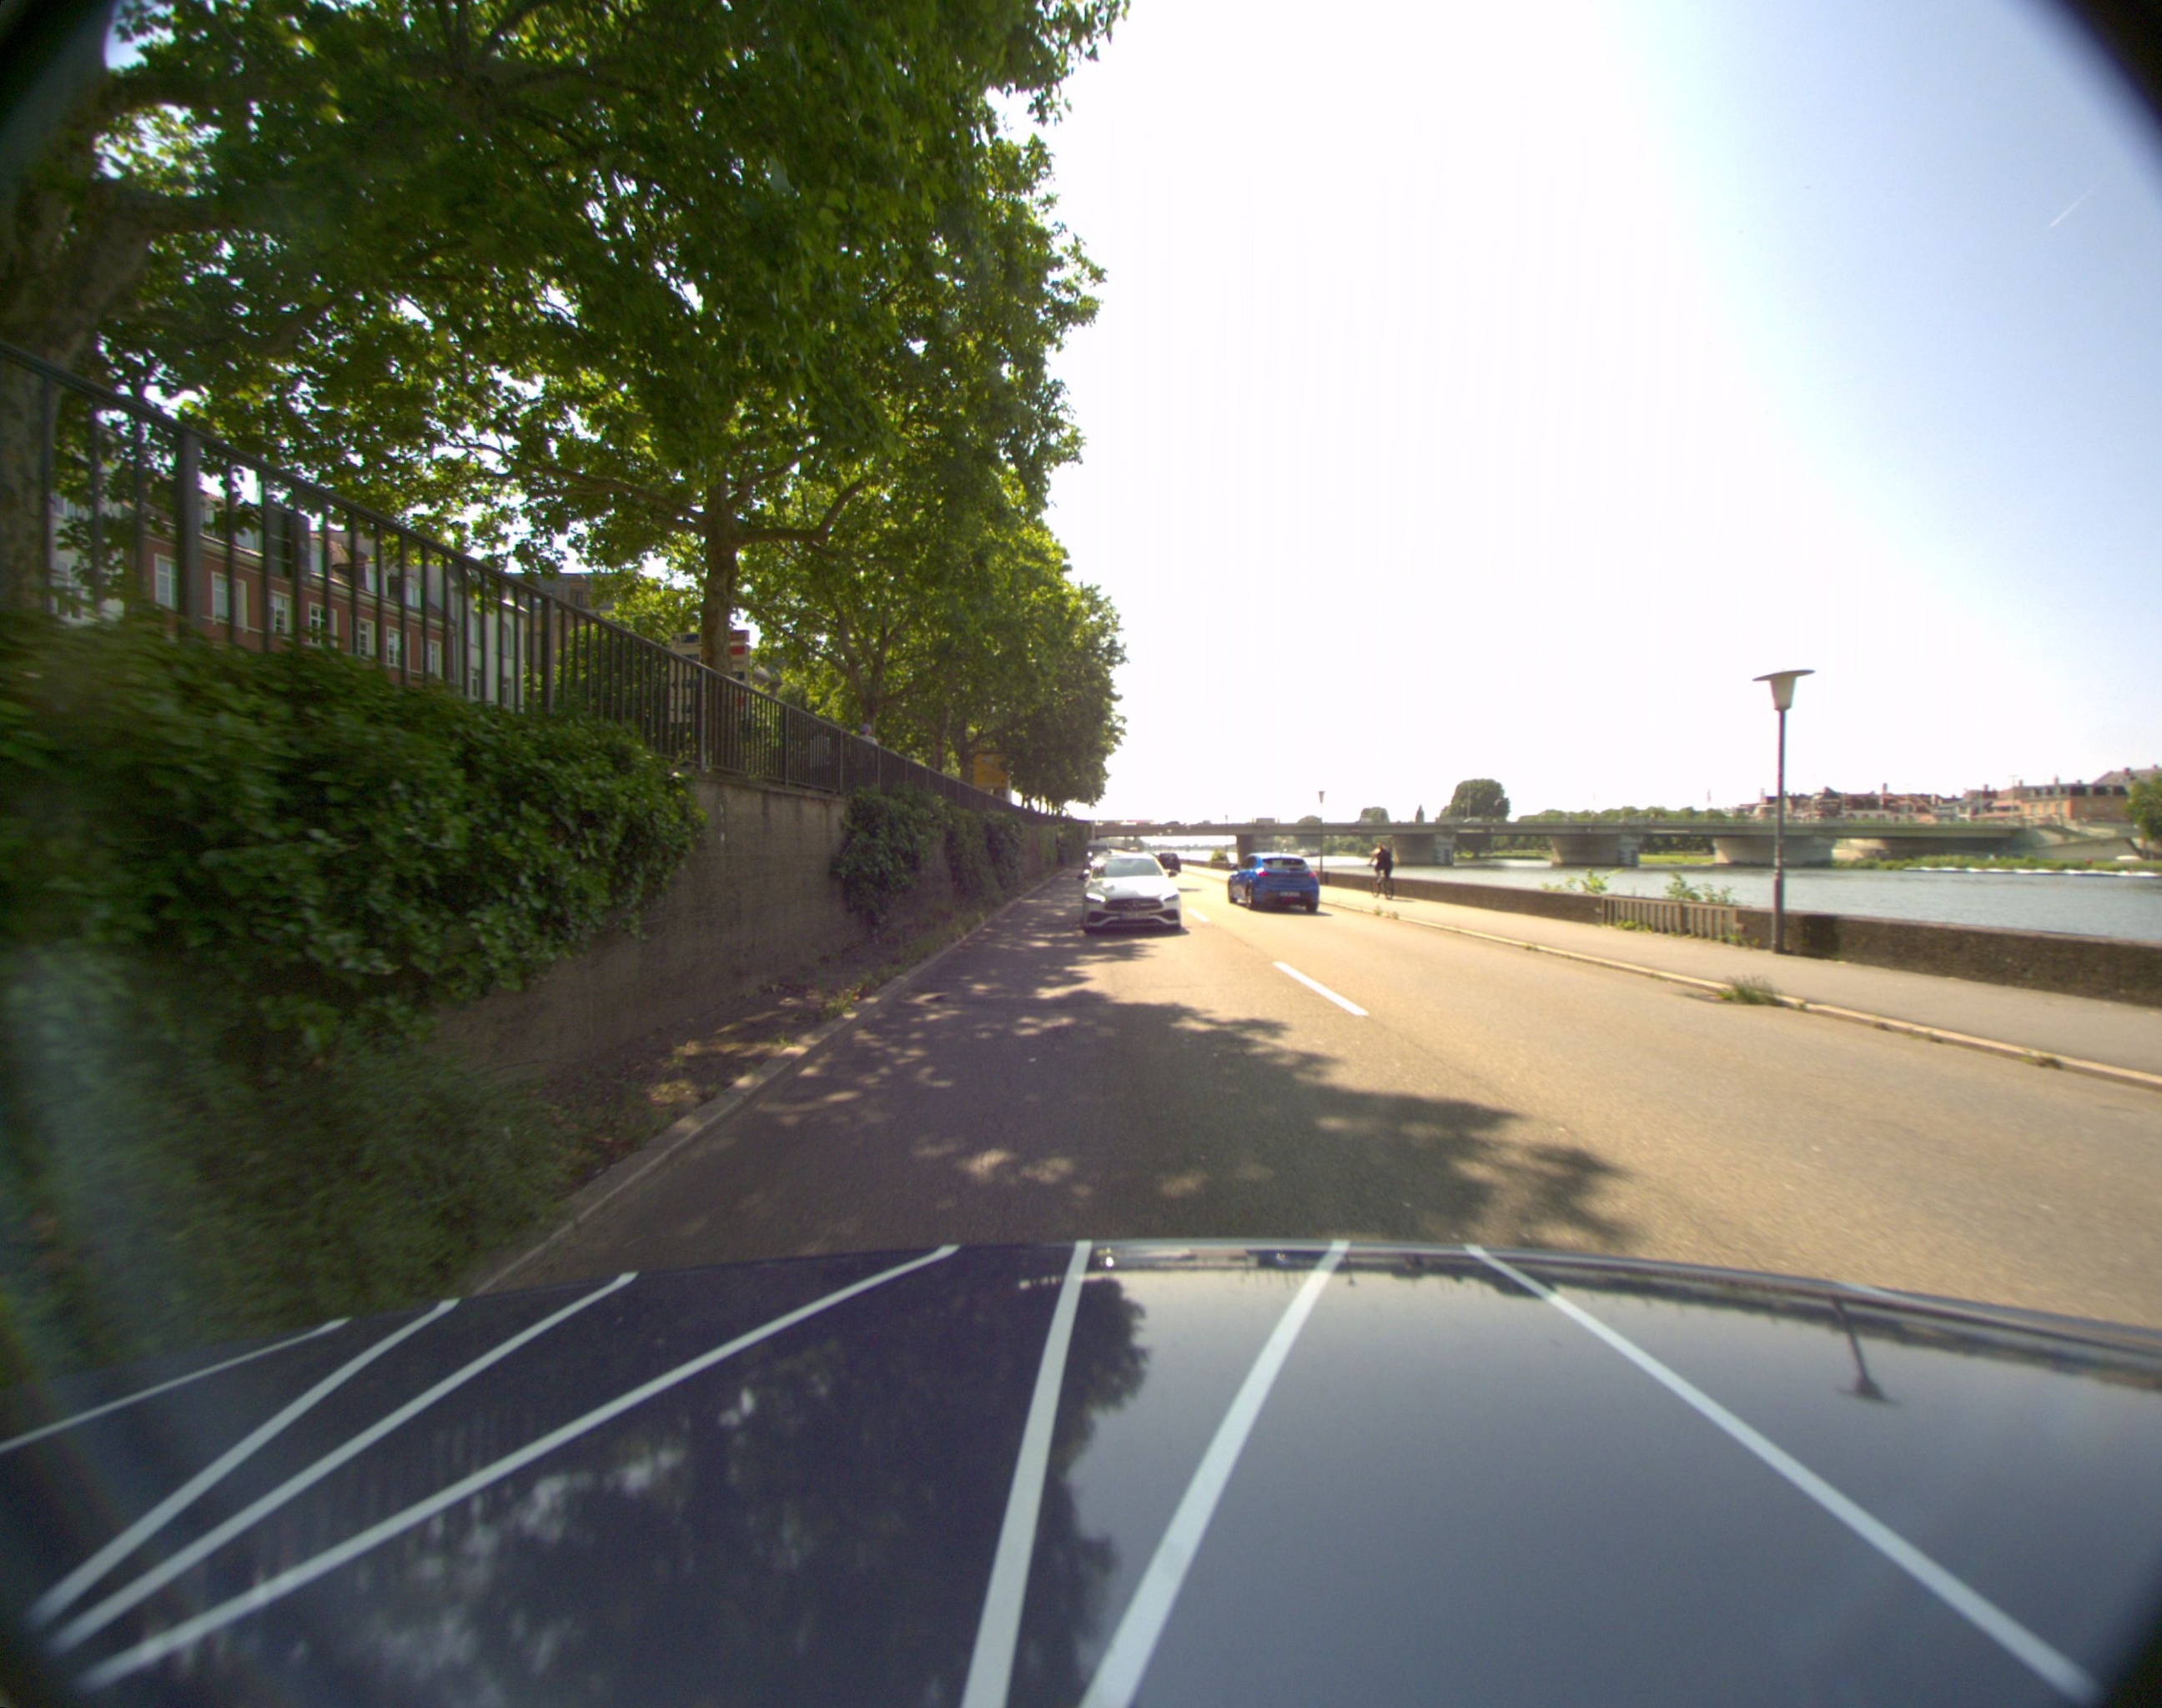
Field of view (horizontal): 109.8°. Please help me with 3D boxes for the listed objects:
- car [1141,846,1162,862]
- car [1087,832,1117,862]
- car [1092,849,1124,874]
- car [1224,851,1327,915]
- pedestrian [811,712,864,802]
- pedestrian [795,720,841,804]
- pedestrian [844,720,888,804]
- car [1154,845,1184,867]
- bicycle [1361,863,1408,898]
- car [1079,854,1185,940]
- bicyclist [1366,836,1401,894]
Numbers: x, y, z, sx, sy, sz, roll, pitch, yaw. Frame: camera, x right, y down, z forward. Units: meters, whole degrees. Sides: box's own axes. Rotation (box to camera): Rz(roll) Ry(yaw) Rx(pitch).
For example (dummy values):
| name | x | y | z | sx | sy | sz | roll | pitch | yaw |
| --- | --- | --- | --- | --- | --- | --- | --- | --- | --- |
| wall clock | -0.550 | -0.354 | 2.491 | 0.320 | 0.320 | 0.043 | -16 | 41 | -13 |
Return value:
| name | x | y | z | sx | sy | sz | roll | pitch | yaw |
| --- | --- | --- | --- | --- | --- | --- | --- | --- | --- |
| car | 6.873 | -0.013 | 74.317 | 1.733 | 1.565 | 3.999 | 1 | 1 | 1 |
| car | 1.734 | -0.649 | 65.243 | 2.351 | 2.429 | 6.207 | 0 | 1 | 0 |
| car | 1.554 | 0.423 | 45.118 | 1.756 | 1.385 | 4.618 | 0 | 1 | 0 |
| car | 5.037 | 0.689 | 20.200 | 1.676 | 1.433 | 3.901 | 2 | 1 | 0 |
| pedestrian | -4.557 | -1.796 | 14.268 | 0.738 | 1.582 | 0.810 | 0 | 1 | 0 |
| pedestrian | -5.167 | -1.797 | 14.949 | 0.666 | 1.582 | 0.650 | 0 | 1 | 0 |
| pedestrian | -4.266 | -1.809 | 15.127 | 0.666 | 1.582 | 0.764 | 0 | 1 | 0 |
| car | 6.232 | 0.112 | 54.127 | 1.670 | 1.482 | 3.725 | 2 | 1 | 0 |
| bicycle | 9.205 | 0.787 | 23.136 | 0.654 | 0.977 | 1.943 | -1 | 1 | 1 |
| car | 0.928 | 0.768 | 15.685 | 1.830 | 1.411 | 4.551 | -1 | 1 | 1 |
| bicyclist | 9.184 | 0.324 | 23.099 | 0.663 | 1.692 | 0.975 | -1 | 1 | 1 |
